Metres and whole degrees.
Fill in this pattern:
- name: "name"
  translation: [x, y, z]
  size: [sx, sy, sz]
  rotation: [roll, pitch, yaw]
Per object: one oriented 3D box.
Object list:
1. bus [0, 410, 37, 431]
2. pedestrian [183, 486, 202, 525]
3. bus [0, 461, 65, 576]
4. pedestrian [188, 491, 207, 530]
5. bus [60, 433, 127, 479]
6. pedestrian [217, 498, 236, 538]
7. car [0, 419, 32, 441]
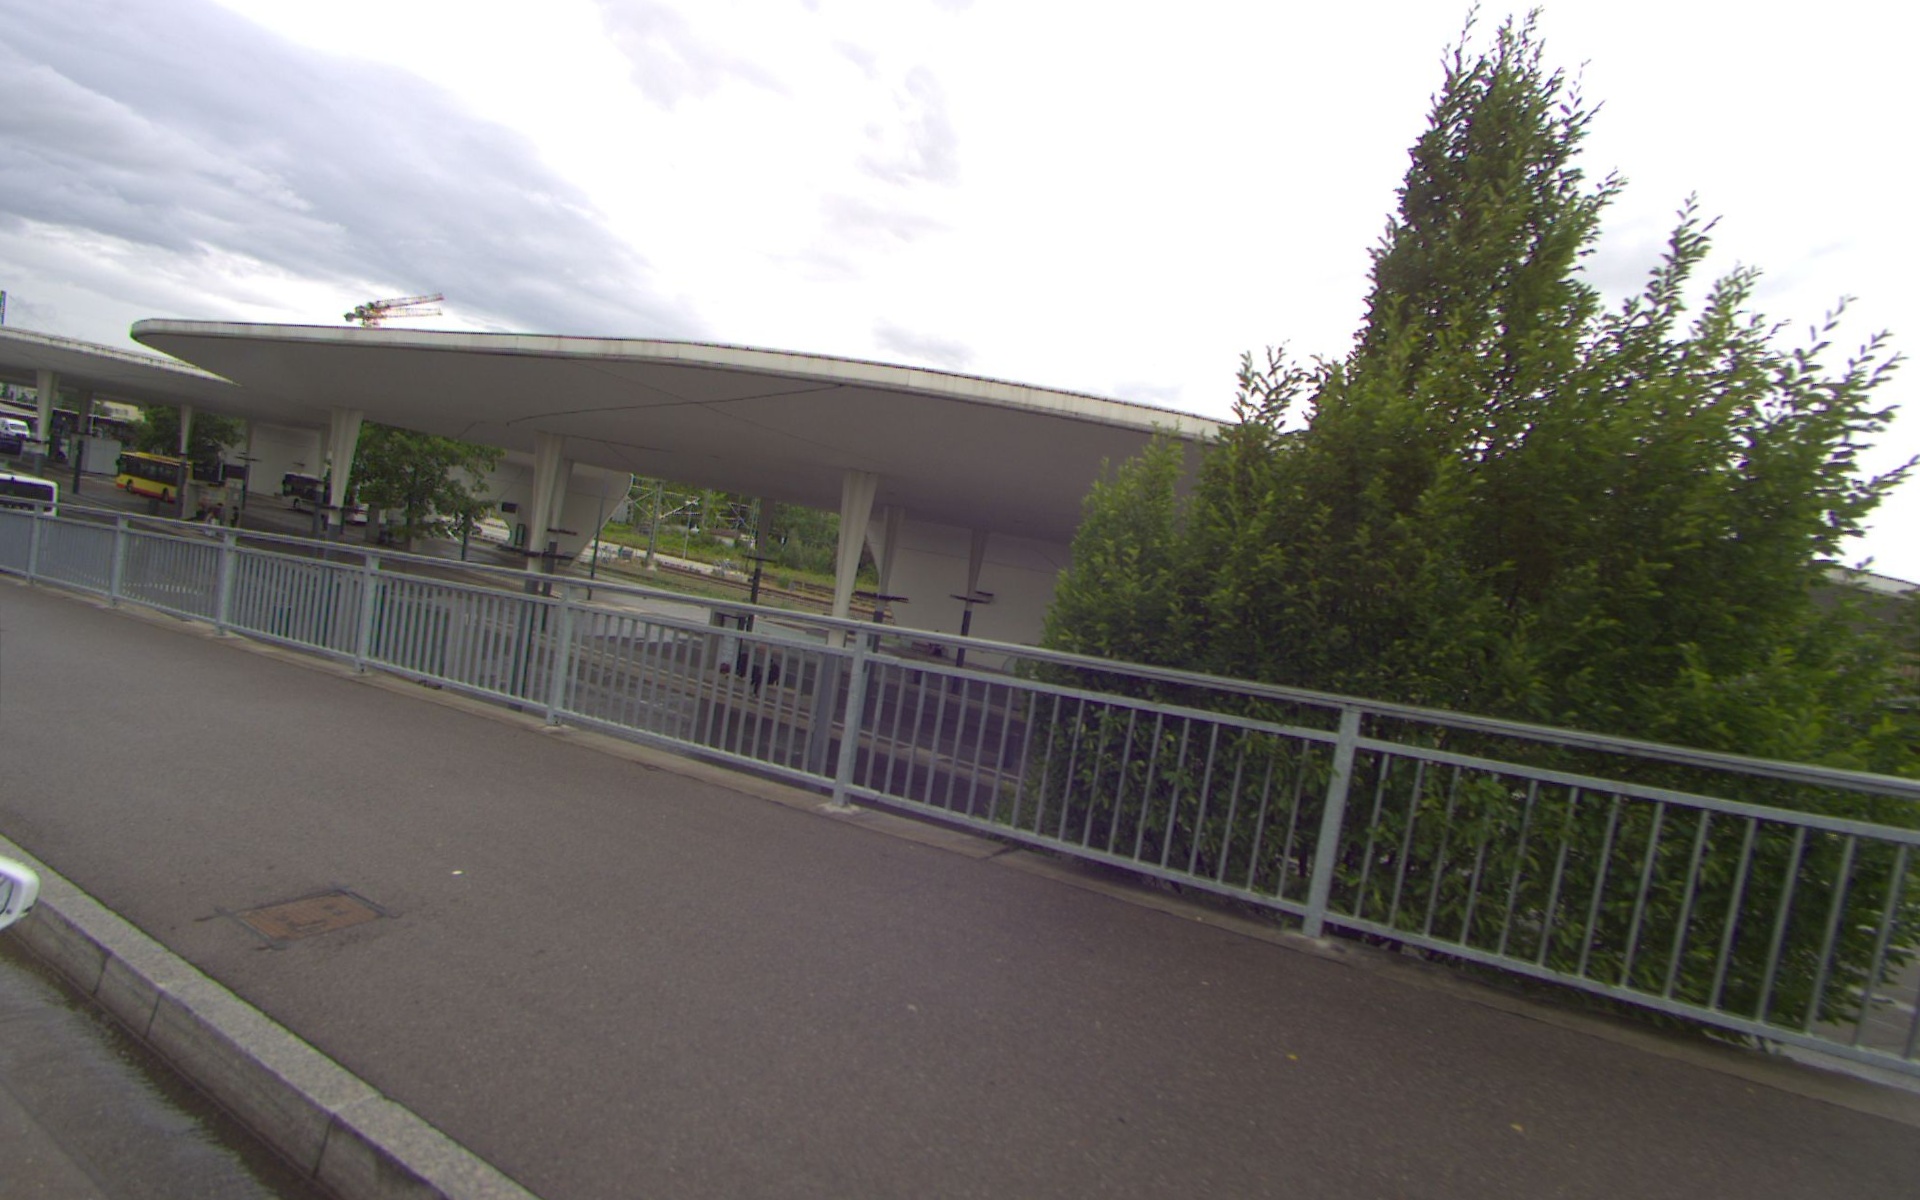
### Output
- name: "bus"
  translation: [-125.674, -23.747, 129.250]
  size: [2.132, 2.039, 10.181]
  rotation: [8, 1, 29]
- name: "pedestrian"
  translation: [-42.356, -5.204, 55.531]
  size: [0.570, 2.040, 0.544]
  rotation: [8, 3, 33]
- name: "bus"
  translation: [-33.930, -3.157, 34.320]
  size: [6.948, 3.276, 2.651]
  rotation: [12, 2, 29]
- name: "pedestrian"
  translation: [-41.484, -4.870, 54.753]
  size: [0.570, 2.040, 0.544]
  rotation: [8, 3, 33]
- name: "bus"
  translation: [-76.046, -12.661, 88.227]
  size: [6.880, 3.252, 2.600]
  rotation: [10, 3, 34]
- name: "pedestrian"
  translation: [-38.564, -4.314, 52.902]
  size: [0.475, 2.040, 0.560]
  rotation: [8, 3, 34]
- name: "car"
  translation: [-115.492, -20.790, 122.909]
  size: [3.933, 2.040, 1.995]
  rotation: [9, 3, 32]
